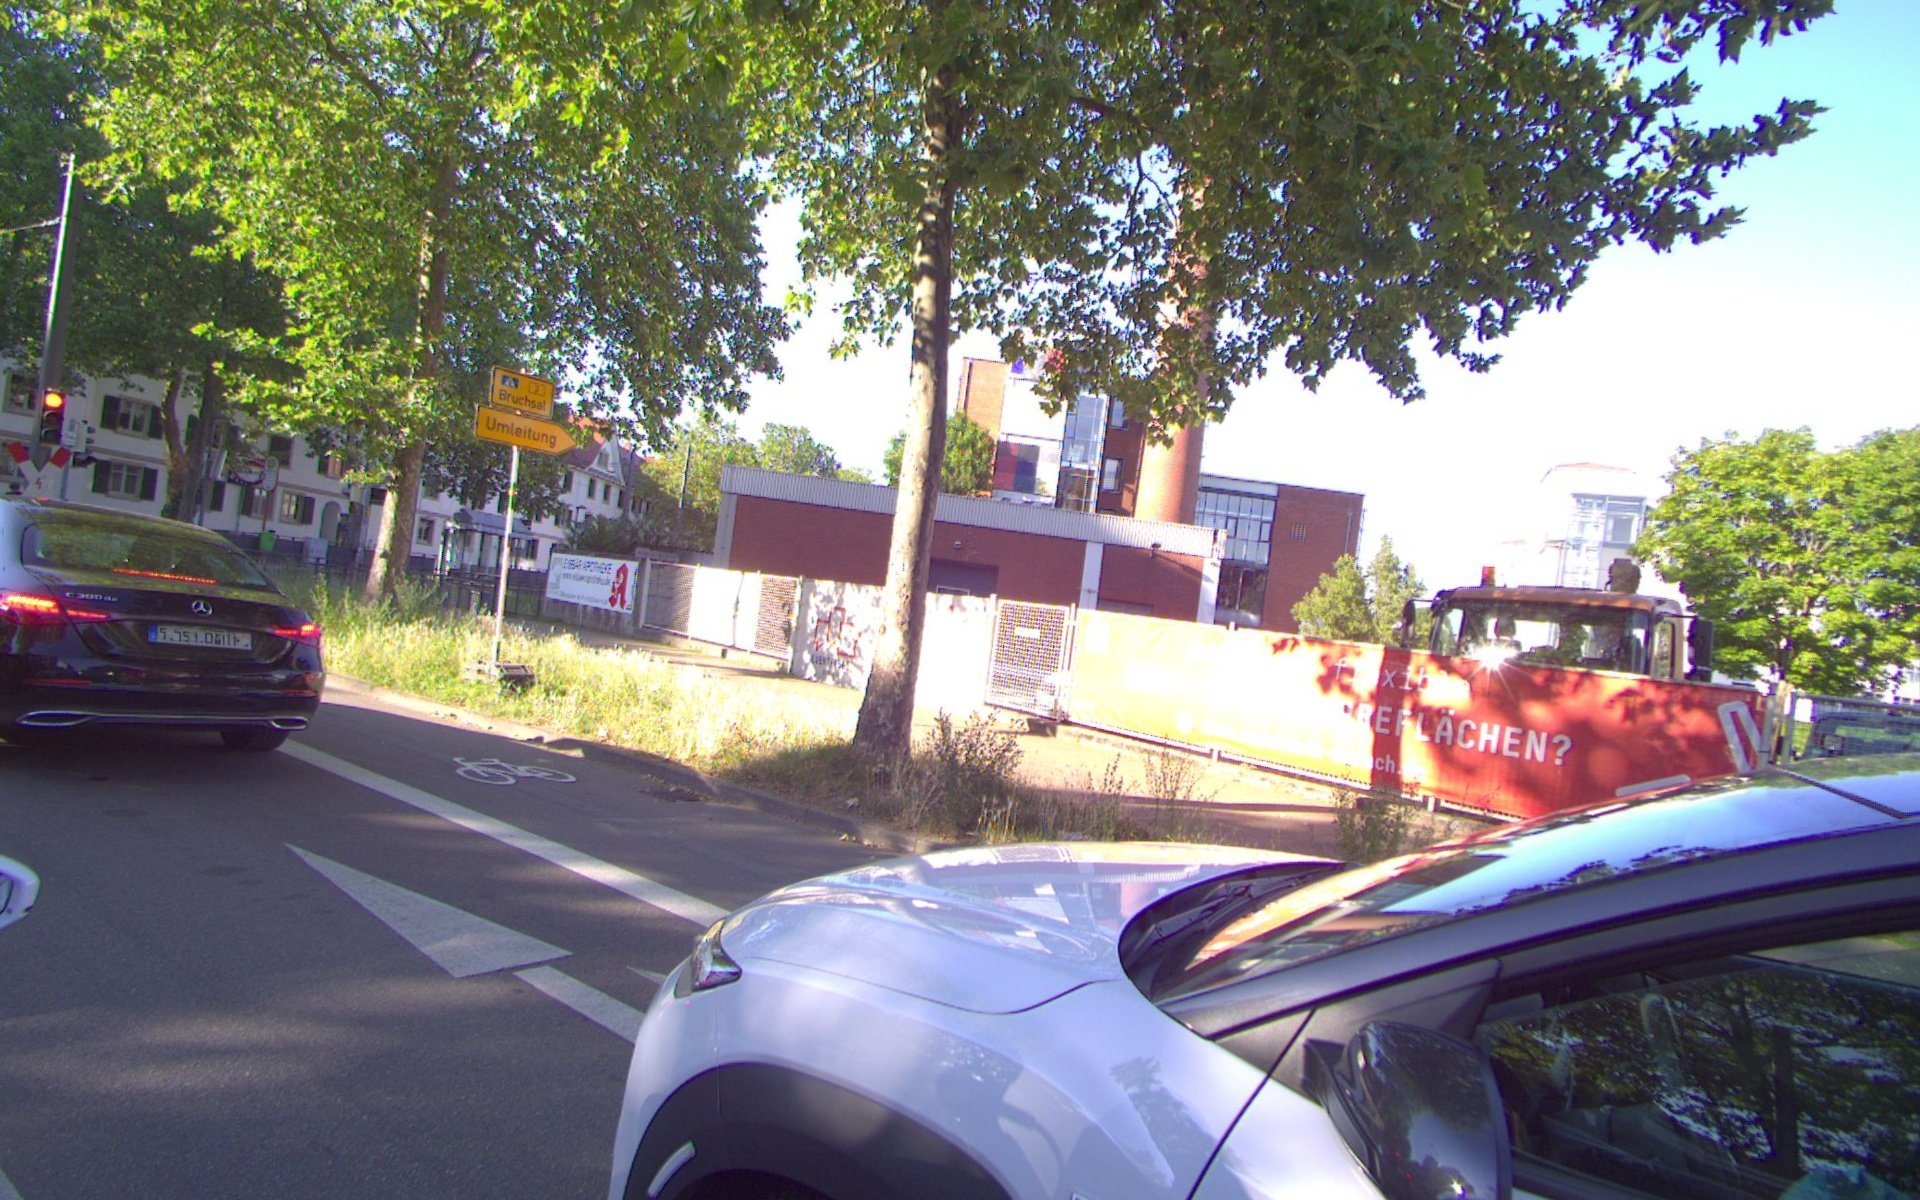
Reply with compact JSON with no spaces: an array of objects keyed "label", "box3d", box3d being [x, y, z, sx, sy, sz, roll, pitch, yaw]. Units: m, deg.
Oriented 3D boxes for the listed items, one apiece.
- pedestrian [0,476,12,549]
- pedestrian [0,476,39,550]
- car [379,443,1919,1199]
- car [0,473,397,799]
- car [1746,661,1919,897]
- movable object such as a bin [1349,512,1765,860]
[{"label":"pedestrian","box3d":[-26.117,-2.396,26.912,0.825,1.940,0.707,7,-1,28]},{"label":"pedestrian","box3d":[-26.519,-2.432,28.131,0.825,1.940,0.707,7,-1,28]},{"label":"car","box3d":[1.231,0.901,1.350,3.901,1.616,1.893,9,-1,33]},{"label":"car","box3d":[-5.941,0.016,6.682,4.308,1.508,1.893,9,-1,32]},{"label":"car","box3d":[9.576,1.820,10.150,2.016,1.849,4.583,6,-3,44]},{"label":"movable object such as a bin","box3d":[7.647,1.030,12.407,3.172,3.084,6.266,6,-2,41]}]
